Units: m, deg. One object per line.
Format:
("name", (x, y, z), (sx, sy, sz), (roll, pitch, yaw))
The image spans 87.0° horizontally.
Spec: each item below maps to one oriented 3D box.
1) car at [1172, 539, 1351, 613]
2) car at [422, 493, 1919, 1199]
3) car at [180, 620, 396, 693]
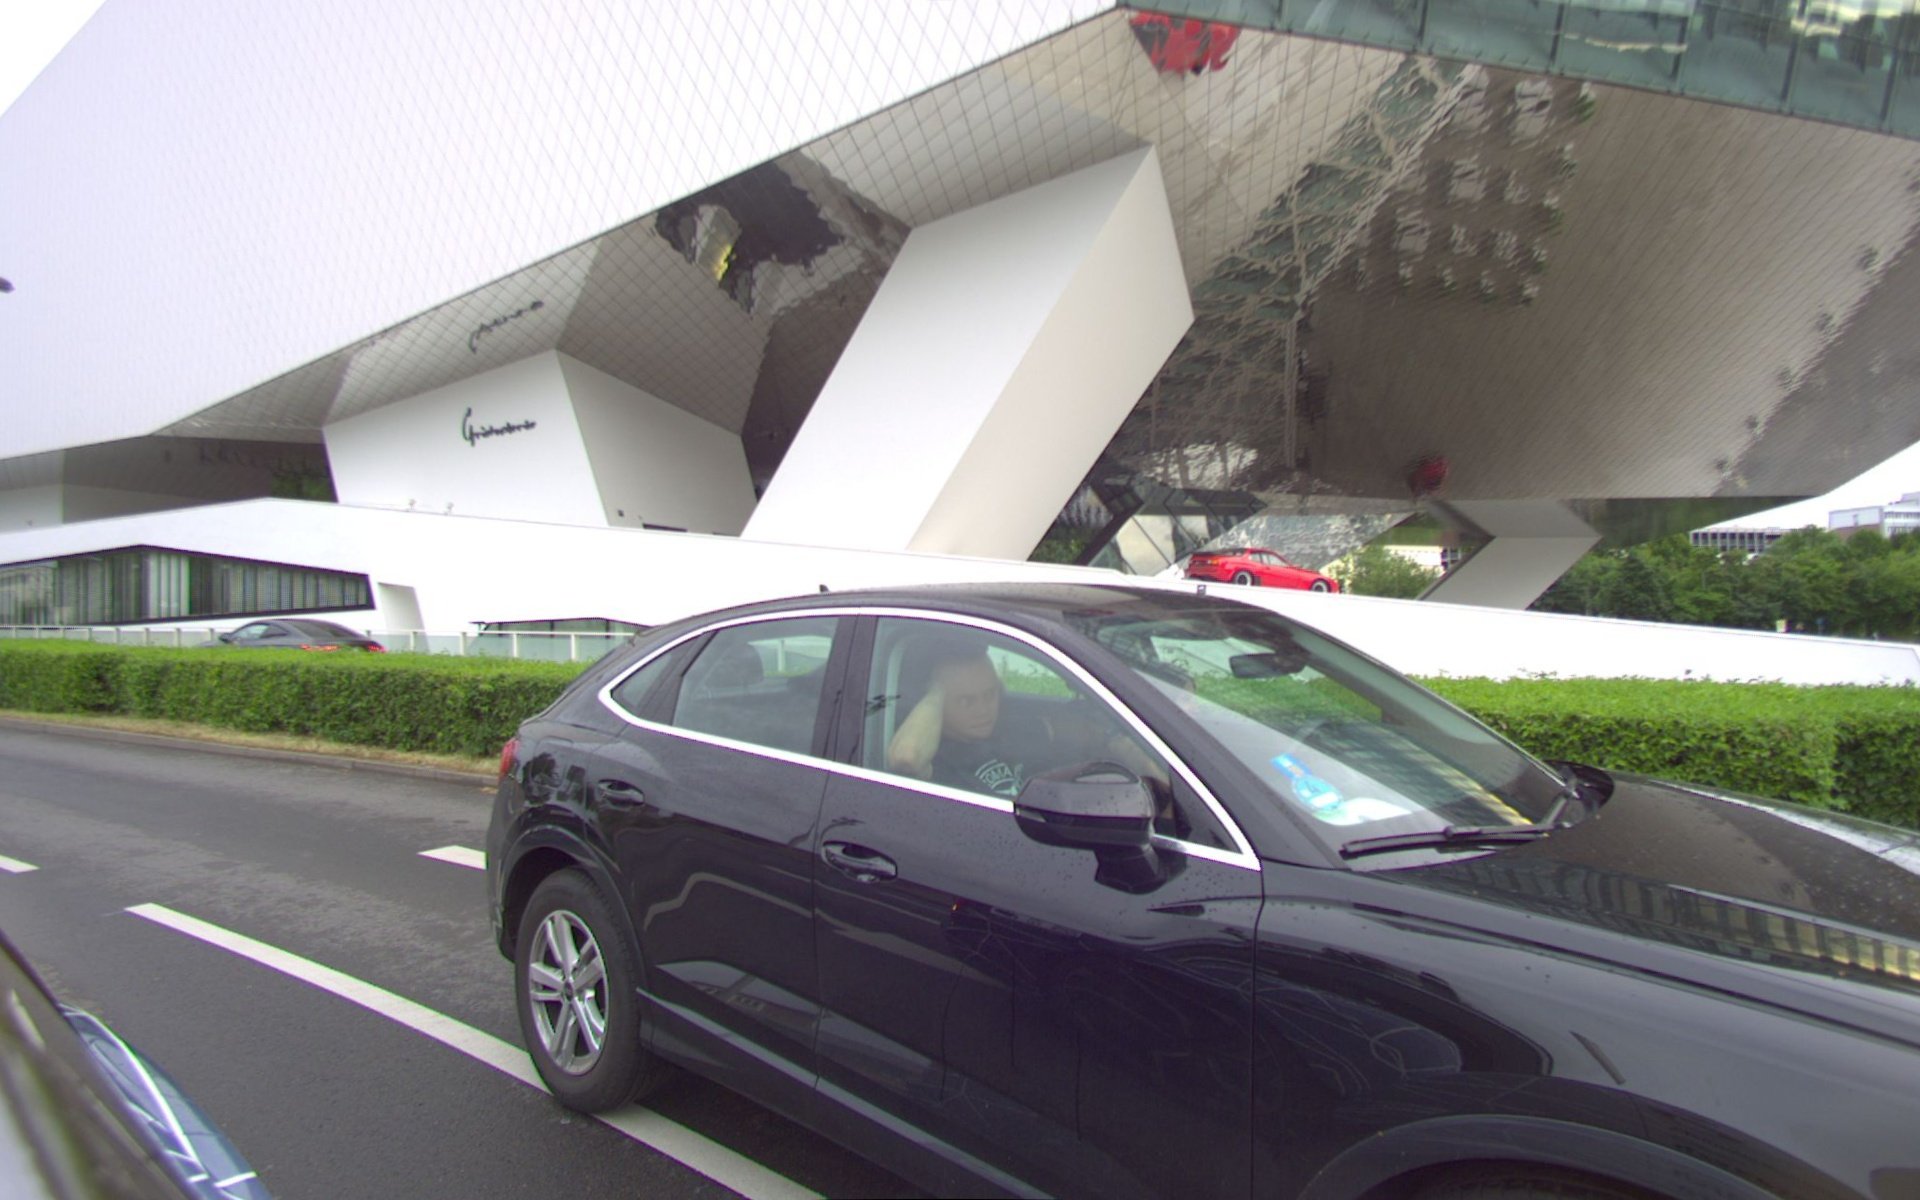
("car", (8.206, -0.606, 27.669), (4.175, 1.395, 2.006), (7, -4, -16))
("car", (0.386, 0.673, 2.678), (4.392, 1.529, 1.734), (-1, -1, 41))
("car", (-13.374, 1.078, 20.150), (3.975, 1.347, 1.711), (-1, -2, 24))
